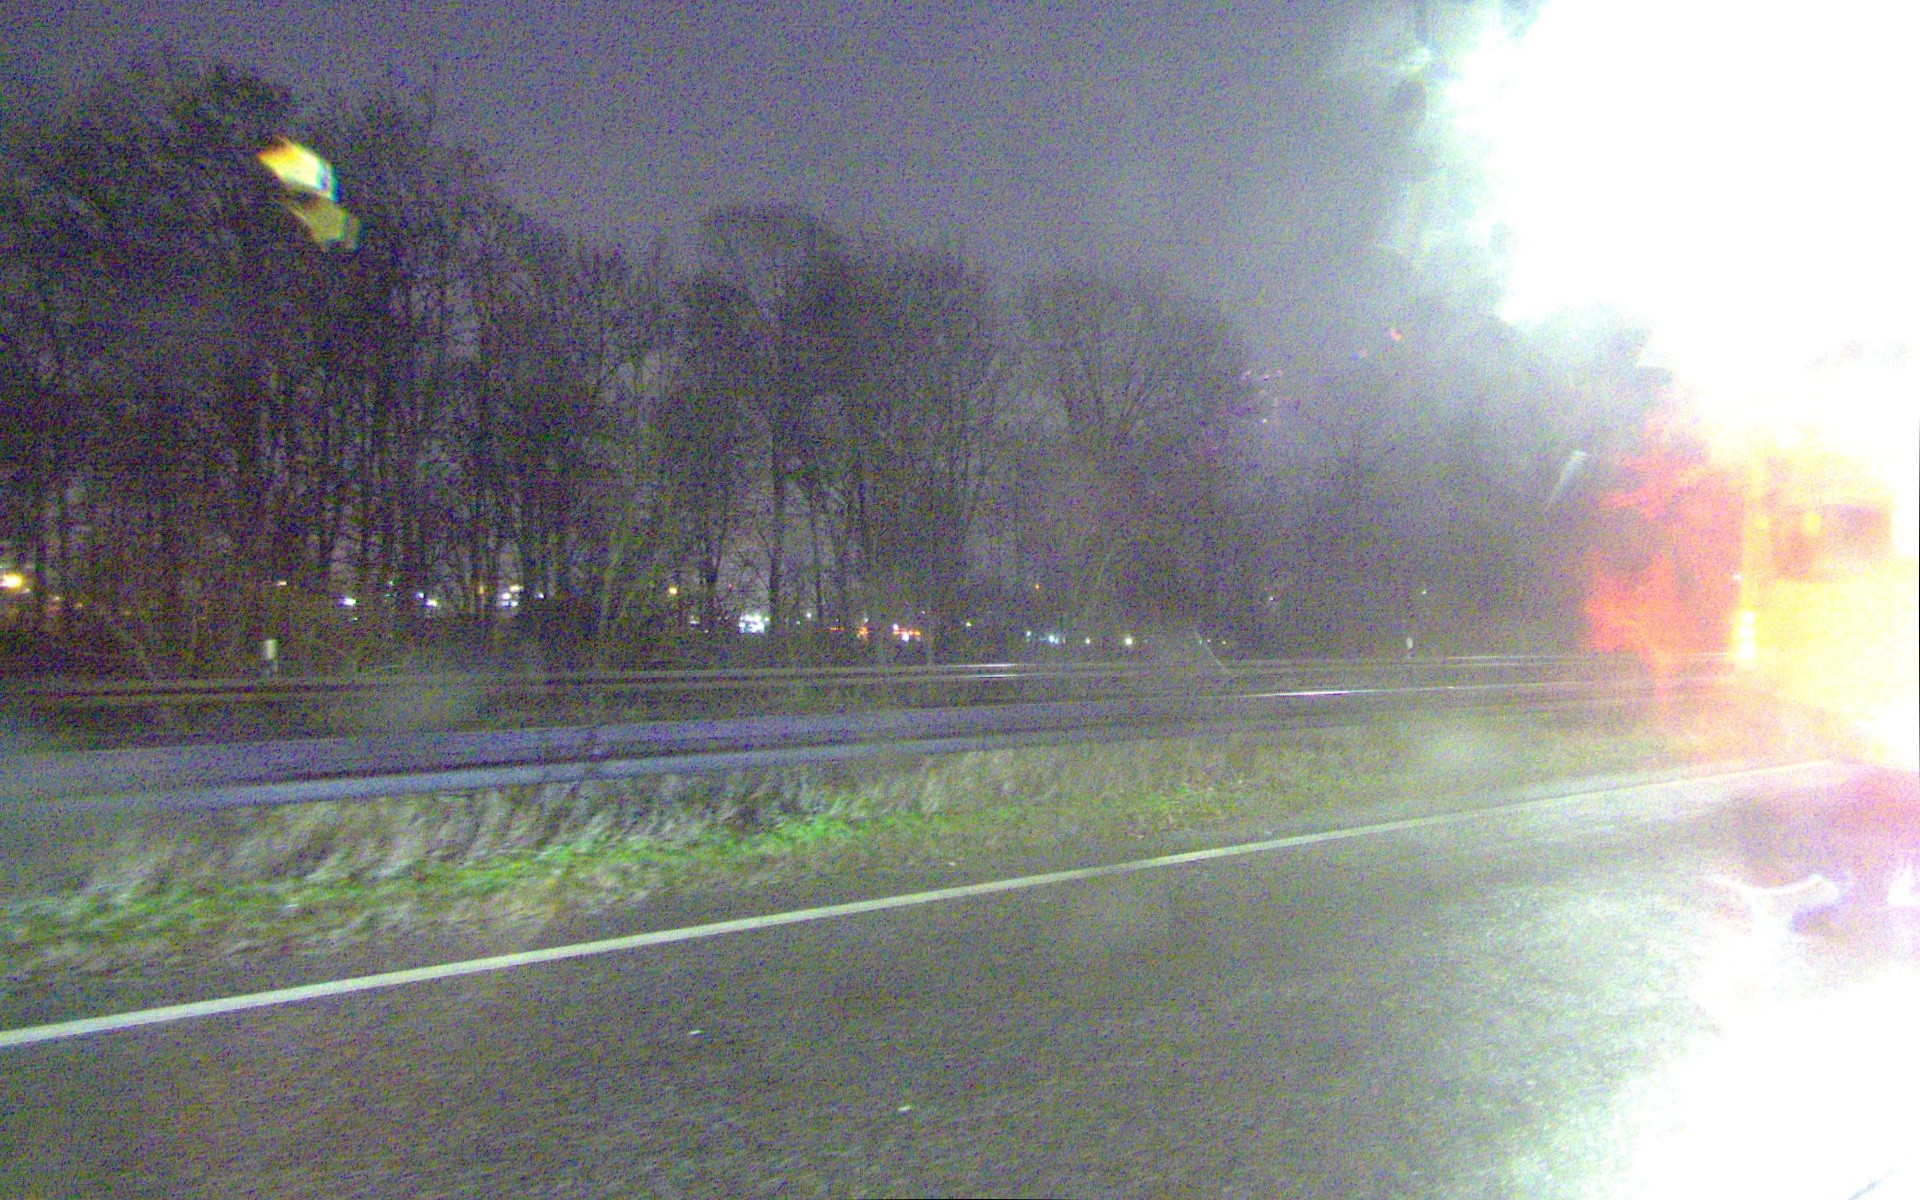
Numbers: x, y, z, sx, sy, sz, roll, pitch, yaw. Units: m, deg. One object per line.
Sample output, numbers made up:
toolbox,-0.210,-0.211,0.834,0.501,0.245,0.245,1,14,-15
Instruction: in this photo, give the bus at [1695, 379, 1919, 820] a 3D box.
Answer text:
bus,10.321,0.070,9.249,8.591,3.064,2.800,1,0,-32
